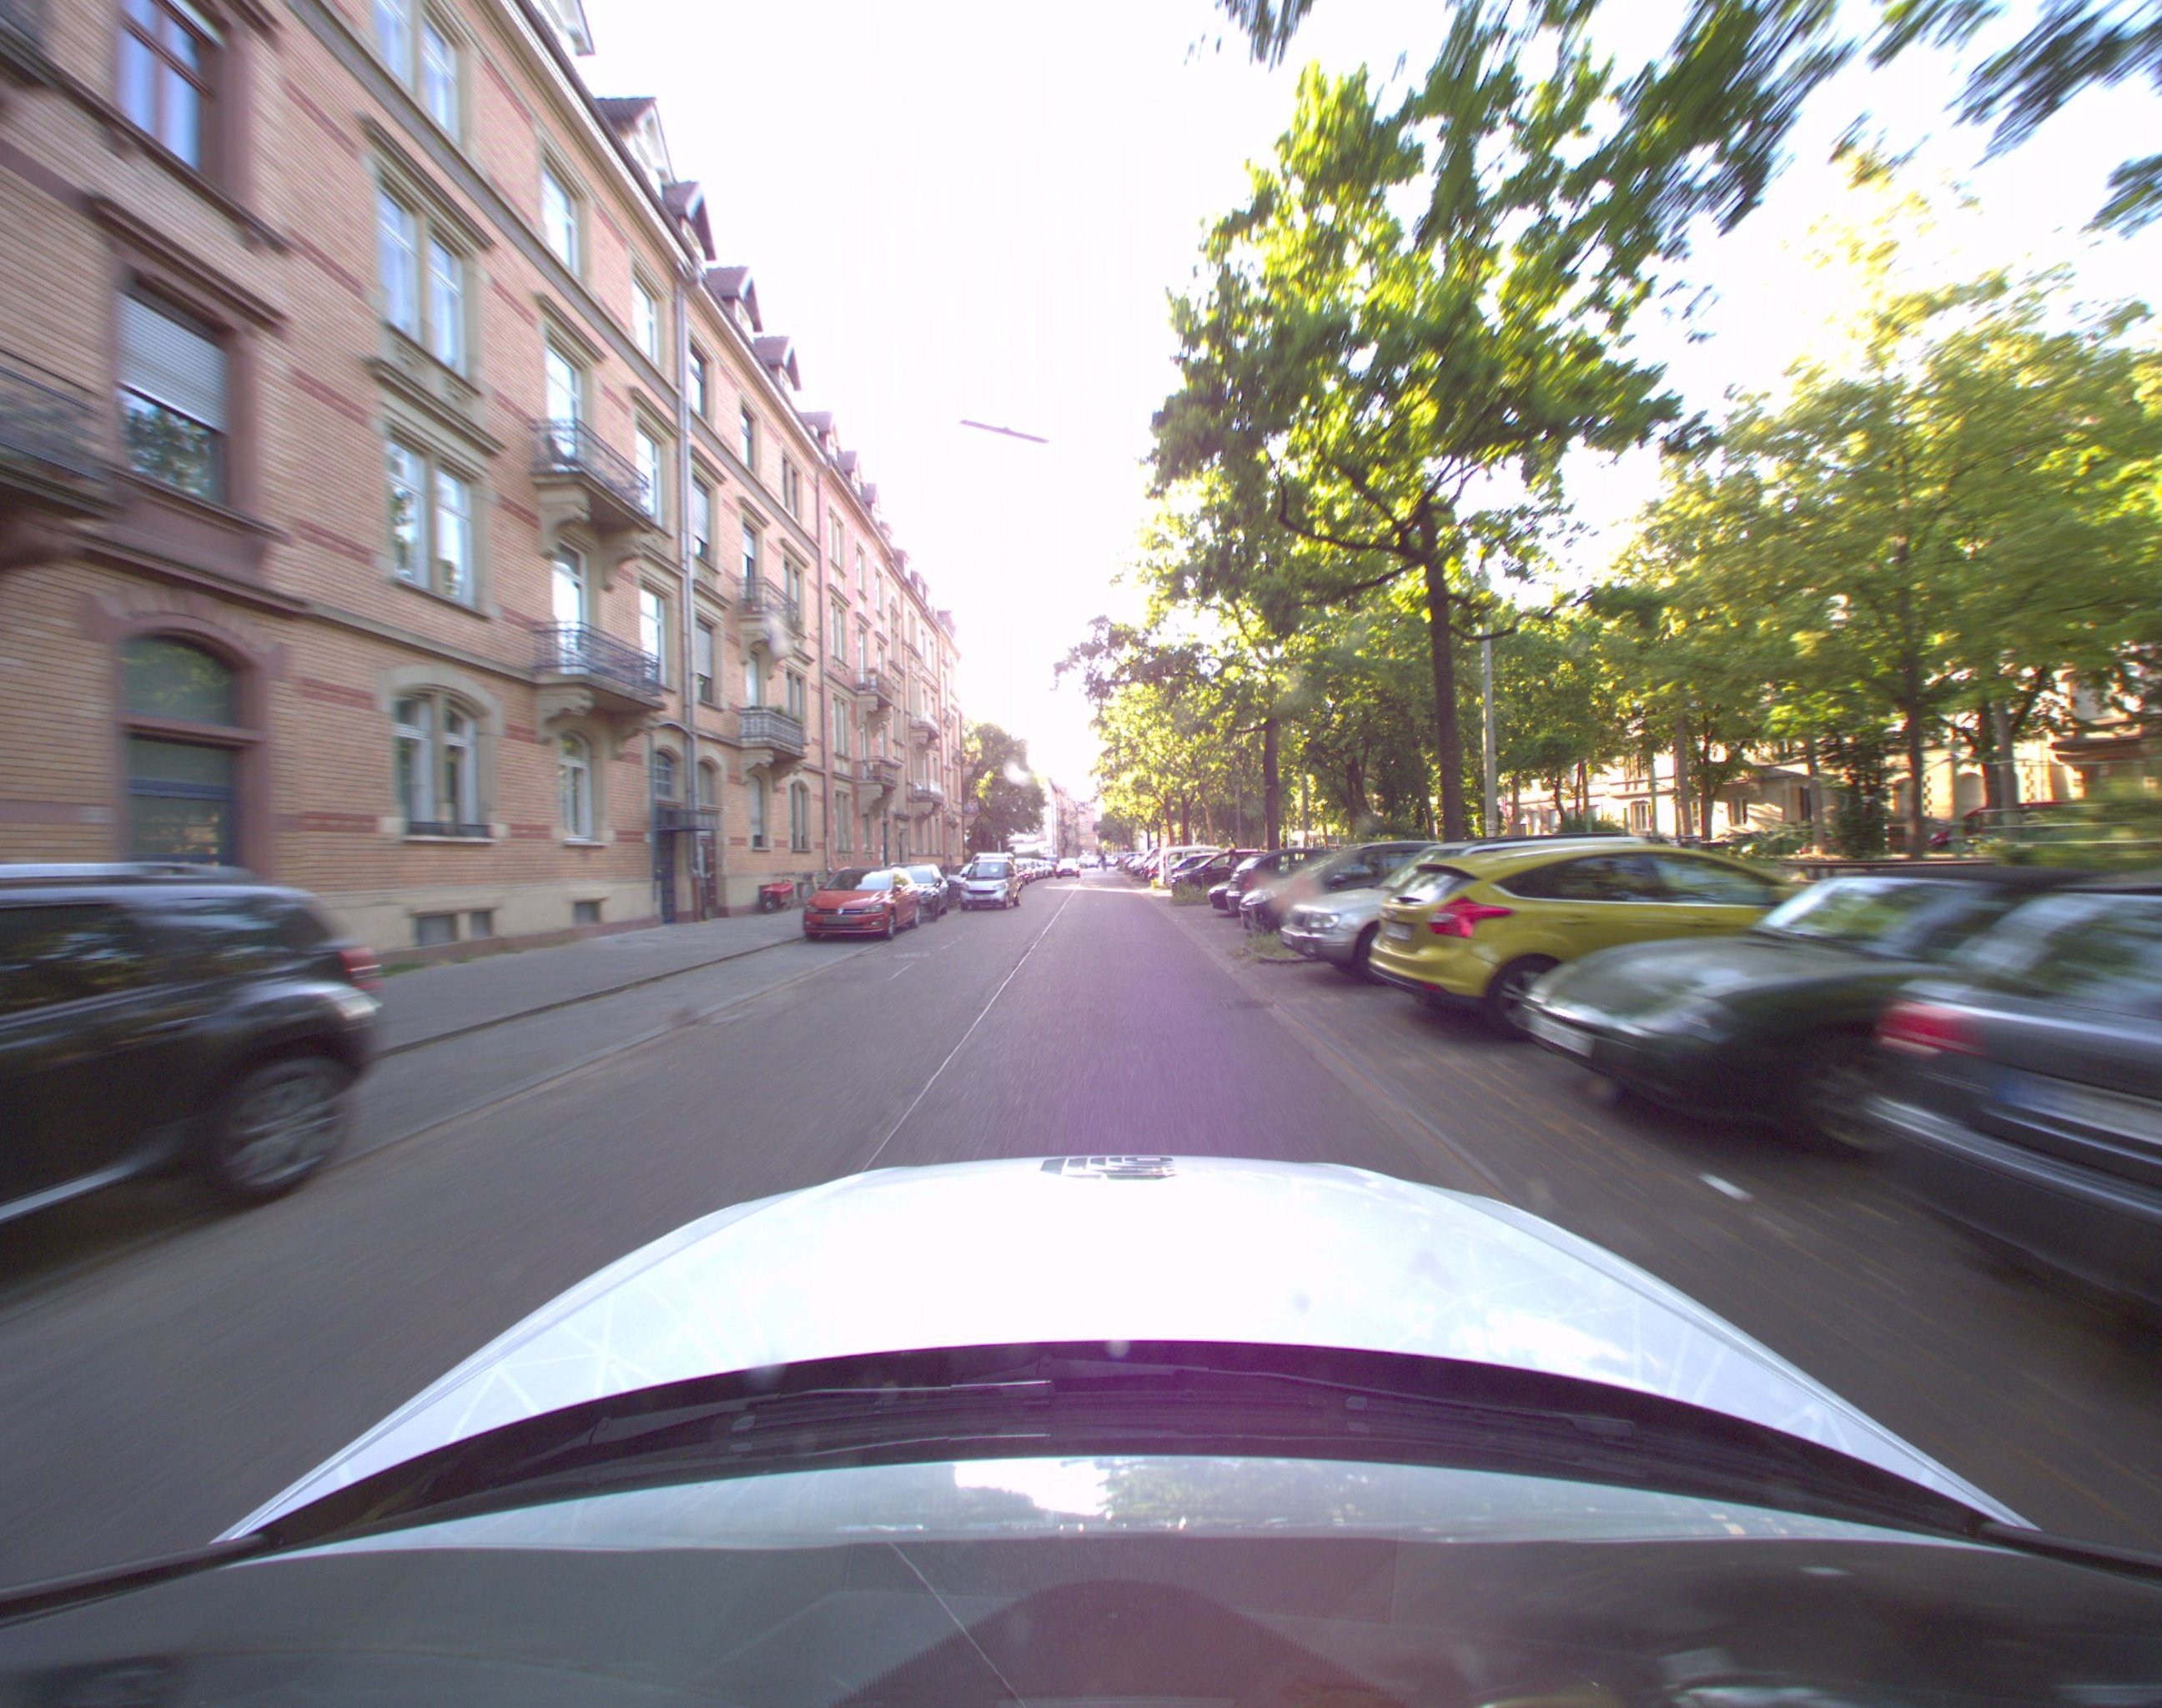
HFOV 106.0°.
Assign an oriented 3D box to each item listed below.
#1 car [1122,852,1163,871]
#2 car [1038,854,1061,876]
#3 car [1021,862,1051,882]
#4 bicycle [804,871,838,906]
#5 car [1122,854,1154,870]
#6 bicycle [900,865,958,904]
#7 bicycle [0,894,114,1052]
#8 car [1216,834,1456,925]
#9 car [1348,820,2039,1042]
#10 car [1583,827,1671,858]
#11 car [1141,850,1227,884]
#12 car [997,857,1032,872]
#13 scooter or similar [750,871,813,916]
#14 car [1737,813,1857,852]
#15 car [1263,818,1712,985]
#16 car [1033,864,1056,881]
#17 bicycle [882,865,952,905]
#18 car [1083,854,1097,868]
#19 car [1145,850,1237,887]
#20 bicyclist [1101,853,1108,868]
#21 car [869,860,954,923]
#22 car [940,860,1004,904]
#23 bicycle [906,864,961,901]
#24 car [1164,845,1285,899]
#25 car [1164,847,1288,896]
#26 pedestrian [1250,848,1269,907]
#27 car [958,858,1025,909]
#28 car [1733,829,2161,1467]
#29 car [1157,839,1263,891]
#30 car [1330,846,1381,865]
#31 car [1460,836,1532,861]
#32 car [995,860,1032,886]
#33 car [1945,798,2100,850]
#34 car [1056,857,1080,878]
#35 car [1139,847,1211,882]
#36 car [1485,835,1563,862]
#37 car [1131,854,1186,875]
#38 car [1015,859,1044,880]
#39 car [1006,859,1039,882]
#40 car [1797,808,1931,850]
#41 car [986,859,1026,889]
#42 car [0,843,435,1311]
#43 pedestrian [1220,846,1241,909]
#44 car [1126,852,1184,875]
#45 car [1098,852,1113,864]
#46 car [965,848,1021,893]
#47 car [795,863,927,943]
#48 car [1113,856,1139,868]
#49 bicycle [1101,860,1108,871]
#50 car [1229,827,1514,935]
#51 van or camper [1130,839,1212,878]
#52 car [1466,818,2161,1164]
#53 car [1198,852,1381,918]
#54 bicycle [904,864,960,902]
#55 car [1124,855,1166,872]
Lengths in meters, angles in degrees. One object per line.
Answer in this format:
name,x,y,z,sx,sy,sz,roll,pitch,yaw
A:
car,6.205,0.768,82.143,3.976,1.794,1.858,-1,-2,-2
car,-2.979,0.997,78.305,1.950,2.018,4.268,-1,0,1
car,-3.513,1.375,64.111,1.748,1.466,4.273,-1,0,4
bicycle,-8.603,1.129,27.028,0.425,1.130,1.771,-1,-2,5
car,7.534,1.113,108.078,3.960,2.014,2.007,-1,-2,12
bicycle,-4.890,0.984,26.252,1.757,1.215,0.441,-1,-2,1
bicycle,-8.947,0.975,5.922,0.734,1.206,2.515,-1,0,2
car,5.224,0.509,17.080,4.390,1.591,1.835,-3,-1,-4
car,4.780,0.596,6.947,4.380,1.440,1.839,-3,-1,3
car,32.316,-0.650,48.309,3.953,1.684,2.010,-2,-2,21
car,5.296,0.666,42.222,4.203,1.453,1.866,-4,-1,2
car,-8.066,1.259,98.765,3.971,1.706,2.001,-1,-2,2
scooter or similar,-8.745,1.133,23.946,0.780,1.222,2.704,-1,-2,1
car,34.384,-0.994,39.183,3.973,1.684,2.000,-1,-2,1
car,4.587,0.527,9.710,4.384,1.591,1.838,-3,-1,0
car,-3.226,1.640,72.765,1.750,1.466,4.268,-1,0,1
bicycle,-5.096,0.961,25.340,2.091,1.215,0.439,0,-2,-15
car,1.281,0.948,114.187,1.987,1.838,3.999,-1,-2,0
car,5.276,0.685,39.326,4.199,1.453,1.651,-4,-1,5
bicyclist,2.486,0.709,86.258,0.625,1.573,0.802,-1,-2,0
car,-4.527,0.947,22.257,1.744,1.546,4.144,0,-1,-5
car,-4.146,1.037,31.642,1.667,1.454,4.212,-3,0,2
bicycle,-4.933,0.959,27.281,1.757,1.215,0.428,-1,-2,1
car,4.659,0.579,26.791,3.660,1.501,1.762,-4,-1,2
car,5.165,0.630,29.395,4.070,1.442,1.760,-4,-1,-2
pedestrian,4.735,0.611,21.608,0.377,1.516,0.522,-2,2,21
car,-2.825,0.908,26.134,1.496,1.435,2.757,-3,0,6
car,4.641,0.581,2.110,4.385,1.440,1.837,-3,-1,0
car,5.449,0.461,34.745,4.203,1.864,1.762,-4,-1,2
car,27.471,0.187,81.424,4.657,1.684,2.011,-2,-2,24
car,30.428,-0.365,59.878,4.656,1.684,2.011,-2,-2,25
car,-3.917,1.100,48.144,1.664,1.429,4.243,-1,0,2
car,41.542,-1.283,36.084,1.996,2.014,3.981,0,-2,-13
car,-0.960,0.999,61.615,1.663,1.464,4.000,-3,0,0
car,5.411,0.606,47.300,3.971,1.691,1.860,-4,-1,2
car,30.950,-0.330,57.056,4.656,1.684,2.011,-2,-2,25
car,5.882,0.805,61.851,3.976,1.548,1.858,-1,-2,-2
car,-3.731,1.108,59.615,1.750,1.515,4.161,-1,0,0
car,-3.816,1.062,53.582,1.696,1.429,3.880,0,0,3
car,34.756,-1.100,36.252,3.973,1.684,2.000,-1,-2,1
car,-3.907,1.040,42.910,1.664,1.486,4.000,0,0,1
car,-4.829,0.829,2.821,1.745,1.706,4.201,-1,0,1
pedestrian,3.870,0.606,21.067,0.377,1.584,0.522,-2,2,21
car,5.840,0.780,64.470,4.378,1.700,1.857,-1,-2,-2
car,3.411,0.571,113.148,1.774,1.674,4.483,-1,0,-2
car,-3.949,0.796,37.388,1.987,1.921,5.039,-1,-2,0
car,-4.551,0.959,17.487,1.748,1.464,3.999,0,0,0
car,7.721,1.367,139.626,3.960,2.014,2.007,-1,-2,12
bicycle,2.506,1.217,86.201,0.639,1.100,1.943,-1,-2,0
car,4.994,0.469,14.482,4.382,1.591,1.838,-3,-1,2
van or camper,5.671,0.326,51.862,4.966,2.377,2.184,-1,-2,-1
car,4.778,0.585,4.508,4.380,1.440,1.839,-3,-1,3
car,4.791,0.703,19.113,3.830,1.279,1.690,-3,-1,0
bicycle,-4.895,0.941,26.769,1.757,1.215,0.464,-1,-2,1
car,6.227,0.939,79.466,3.976,1.563,1.858,-1,-2,-2
